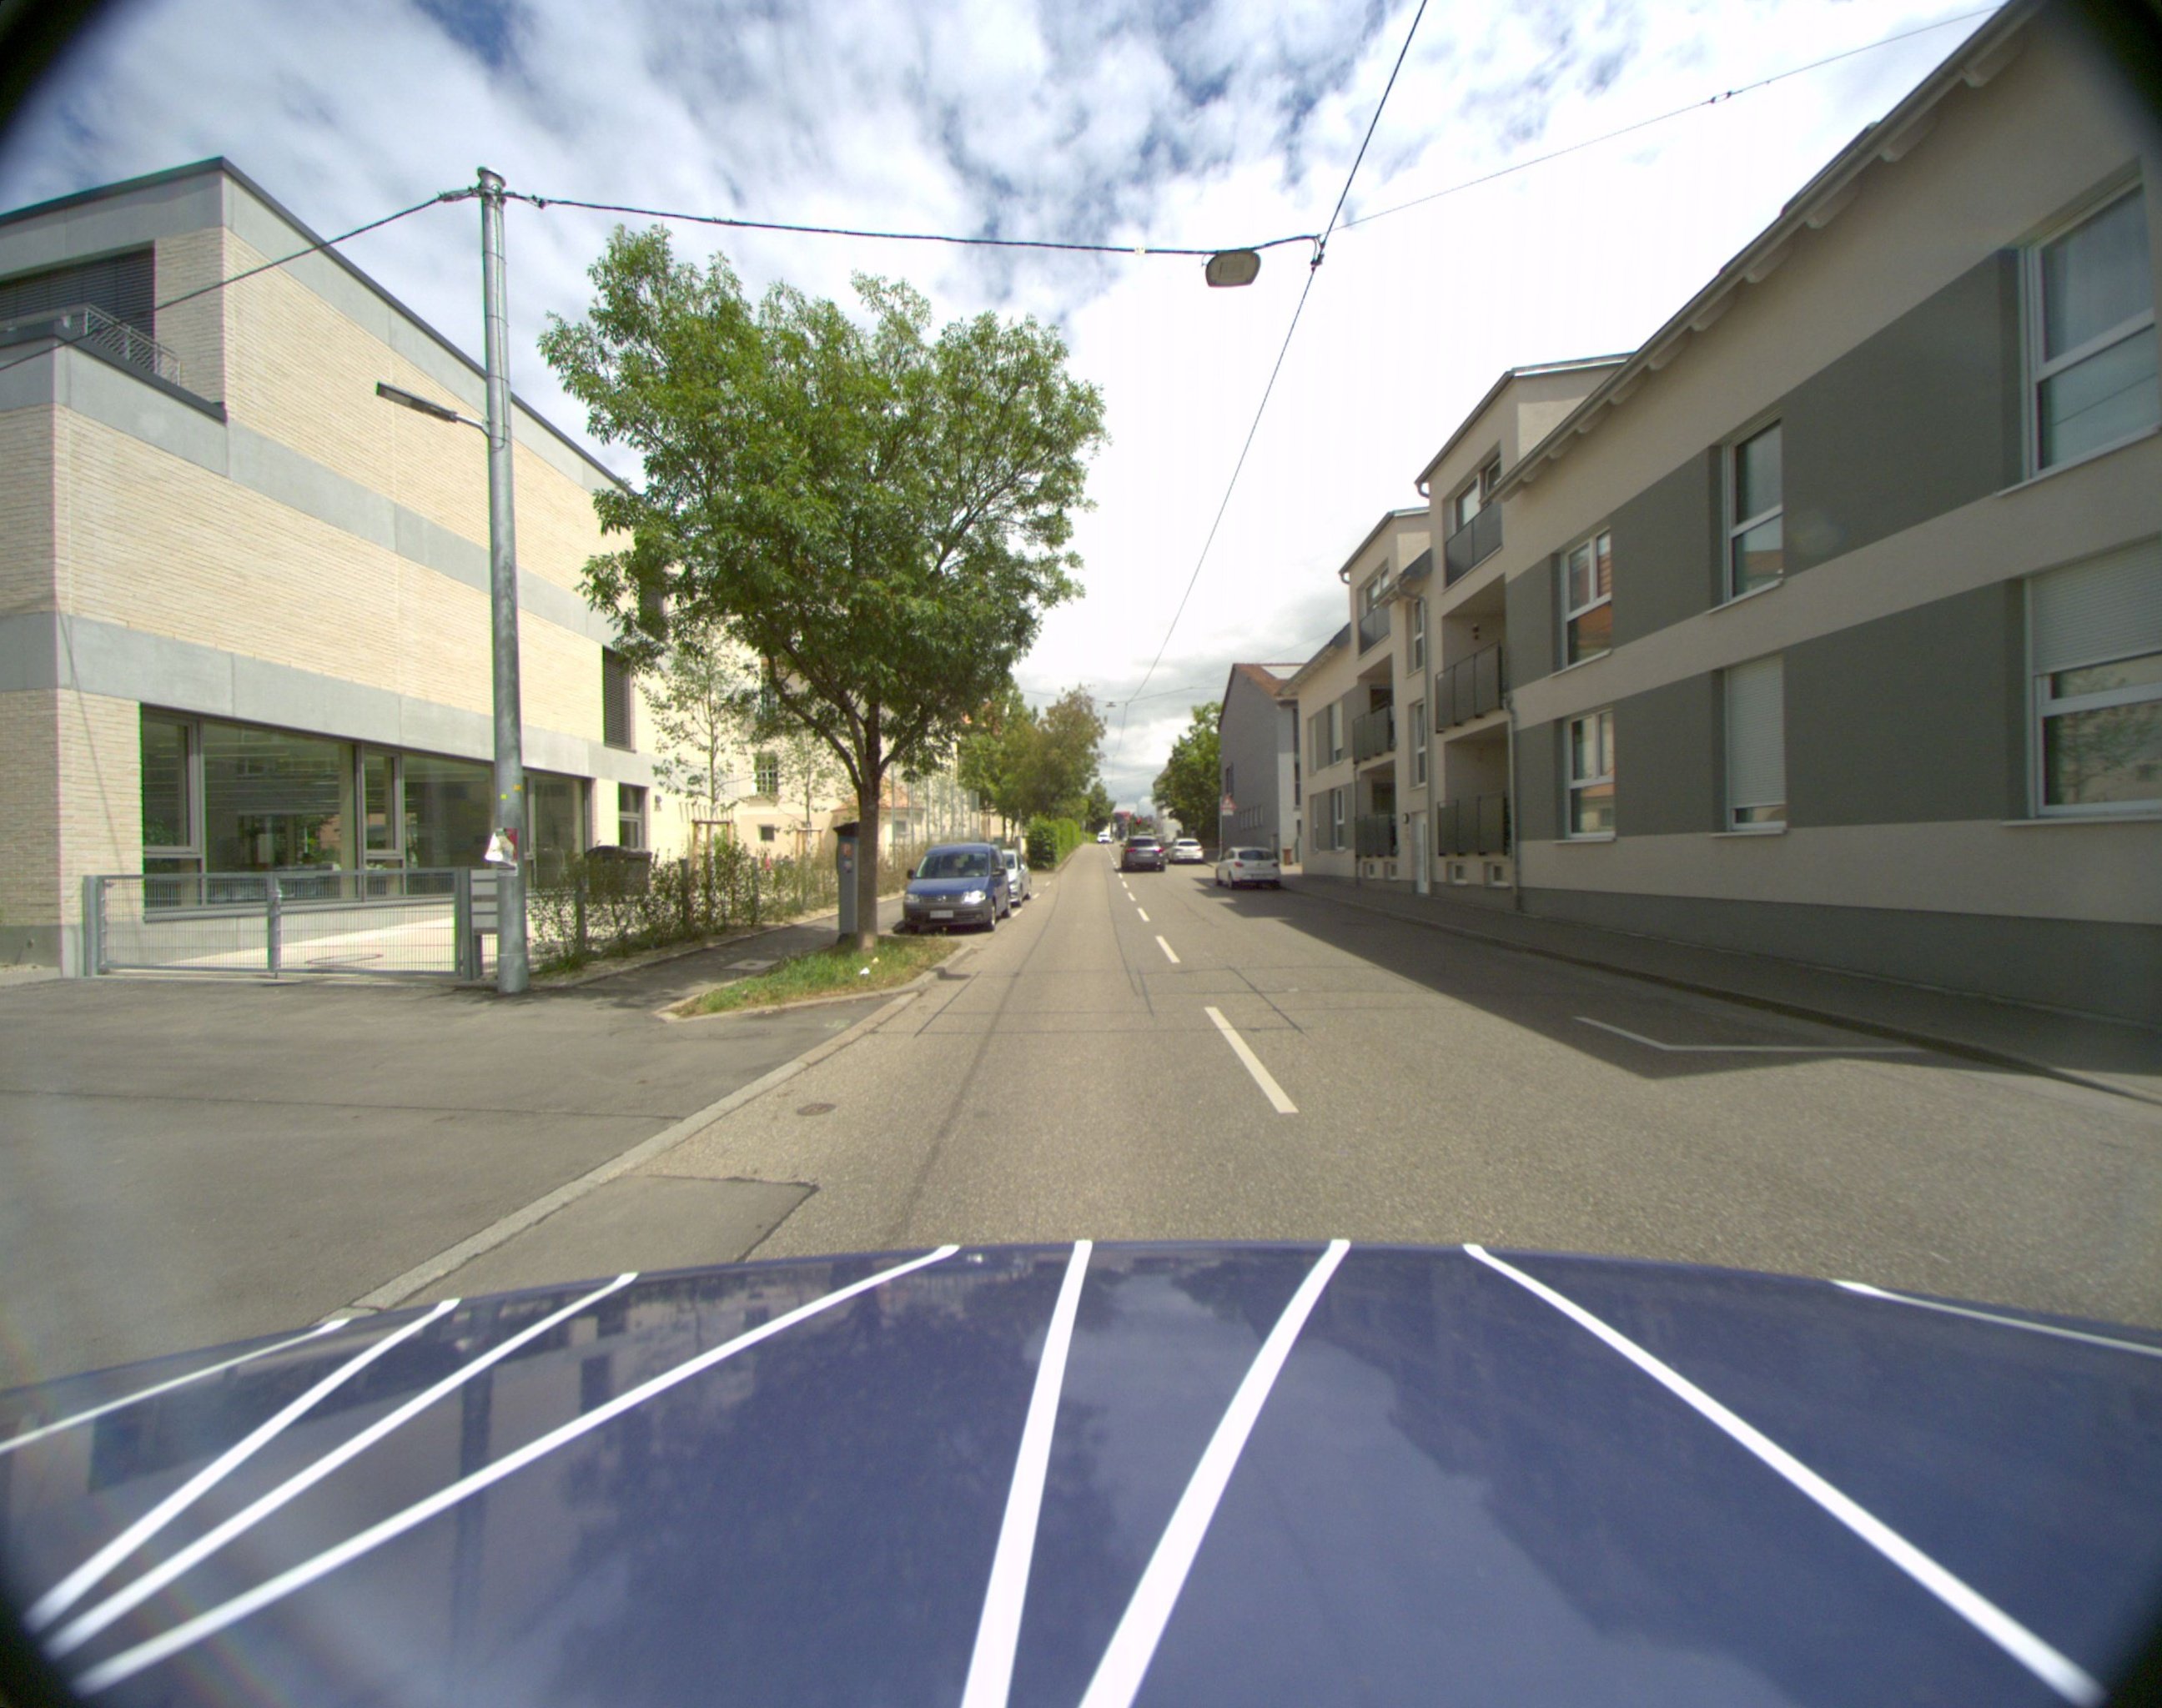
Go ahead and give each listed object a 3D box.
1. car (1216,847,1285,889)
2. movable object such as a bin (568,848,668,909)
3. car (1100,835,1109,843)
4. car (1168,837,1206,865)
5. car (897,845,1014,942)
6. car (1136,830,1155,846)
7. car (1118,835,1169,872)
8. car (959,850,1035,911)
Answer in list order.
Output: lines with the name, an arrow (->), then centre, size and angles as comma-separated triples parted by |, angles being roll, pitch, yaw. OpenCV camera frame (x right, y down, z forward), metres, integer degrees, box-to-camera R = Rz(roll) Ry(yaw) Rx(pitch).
car -> 5.804, 0.449, 26.414 | 1.665, 1.322, 3.474 | -1, 0, 1
movable object such as a bin -> -11.618, 0.583, 19.163 | 1.351, 1.438, 1.807 | -1, 1, 2
car -> 3.643, -2.387, 119.537 | 1.298, 1.148, 2.983 | -3, 0, 1
car -> 6.148, -0.219, 44.458 | 1.737, 1.480, 4.065 | 0, 2, 1
car -> -2.499, 0.706, 16.140 | 1.698, 1.733, 4.158 | -1, 1, 1
car -> 6.538, -1.656, 77.618 | 1.672, 1.545, 3.964 | 0, 2, 1
car -> 3.061, -0.032, 38.092 | 1.946, 1.709, 4.595 | 0, 0, -3
car -> -2.322, 0.689, 21.878 | 1.677, 1.510, 3.669 | -2, 1, 1
